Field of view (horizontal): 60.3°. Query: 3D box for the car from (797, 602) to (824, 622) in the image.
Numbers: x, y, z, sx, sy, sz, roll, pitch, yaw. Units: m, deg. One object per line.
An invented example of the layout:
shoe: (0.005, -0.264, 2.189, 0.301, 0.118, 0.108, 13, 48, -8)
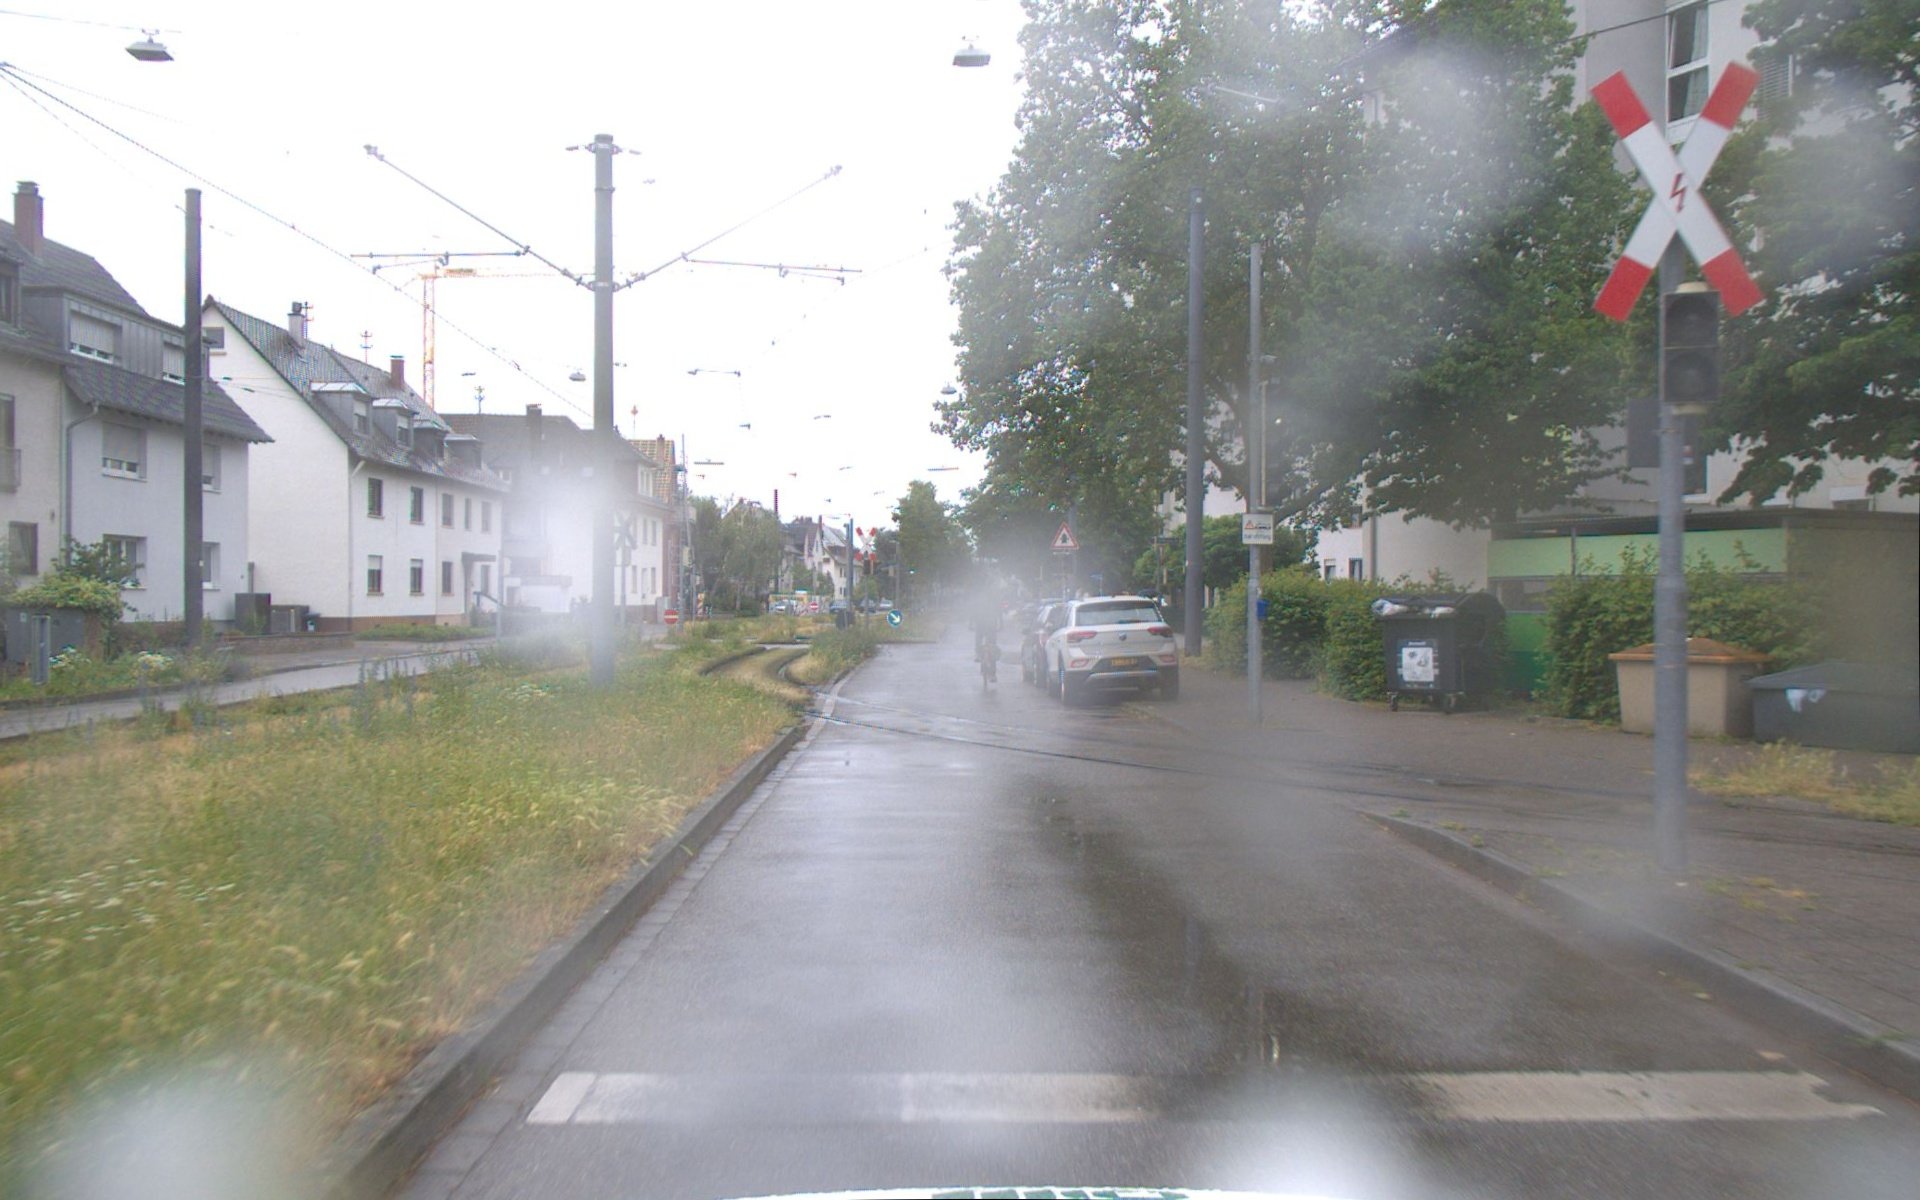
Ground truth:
car: (-13.282, 1.076, 147.165, 1.953, 1.735, 3.999, 0, -2, 0)

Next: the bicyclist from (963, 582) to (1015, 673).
bicyclist: (0.504, 0.484, 29.237, 0.814, 1.585, 0.913, -1, -1, -4)

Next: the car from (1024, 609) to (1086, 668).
car: (3.502, 1.416, 61.704, 1.902, 2.049, 3.998, -2, -1, -2)

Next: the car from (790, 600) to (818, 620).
car: (-13.341, 0.853, 141.539, 1.953, 1.571, 3.999, 0, -2, 0)

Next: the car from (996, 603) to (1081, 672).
car: (2.064, 0.989, 44.422, 1.902, 1.681, 3.998, -2, -1, -2)

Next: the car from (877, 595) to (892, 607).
car: (-10.986, 0.203, 239.551, 1.953, 1.571, 3.999, 0, -2, 0)

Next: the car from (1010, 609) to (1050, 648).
car: (3.898, 1.584, 92.508, 1.902, 2.049, 3.998, -2, -1, -2)

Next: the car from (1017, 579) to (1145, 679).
car: (2.185, 0.529, 30.816, 1.902, 1.681, 3.998, -2, -1, -2)

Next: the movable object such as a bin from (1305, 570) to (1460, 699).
movable object such as a bin: (5.961, 0.462, 23.405, 1.529, 1.734, 1.489, -1, 0, -25)

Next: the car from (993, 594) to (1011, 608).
car: (4.936, 0.093, 193.199, 1.953, 1.518, 3.998, 0, -2, -1)

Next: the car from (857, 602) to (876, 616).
car: (-11.003, 1.088, 194.690, 1.953, 1.571, 3.999, 0, -2, 0)

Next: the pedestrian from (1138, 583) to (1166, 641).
pedestrian: (5.913, 0.359, 50.969, 0.732, 1.746, 0.750, -2, -1, -1)

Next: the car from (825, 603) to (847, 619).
car: (-12.855, 1.172, 171.667, 1.953, 1.571, 3.999, 0, -2, 0)

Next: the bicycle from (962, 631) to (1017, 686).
bicycle: (0.504, 1.026, 29.385, 0.805, 0.928, 1.984, -1, -1, -4)

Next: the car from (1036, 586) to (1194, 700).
car: (2.328, 0.643, 25.829, 1.915, 1.580, 3.998, -2, -1, -2)

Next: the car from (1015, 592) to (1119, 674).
car: (2.362, 0.733, 37.515, 1.902, 1.681, 3.998, -2, -1, -2)
